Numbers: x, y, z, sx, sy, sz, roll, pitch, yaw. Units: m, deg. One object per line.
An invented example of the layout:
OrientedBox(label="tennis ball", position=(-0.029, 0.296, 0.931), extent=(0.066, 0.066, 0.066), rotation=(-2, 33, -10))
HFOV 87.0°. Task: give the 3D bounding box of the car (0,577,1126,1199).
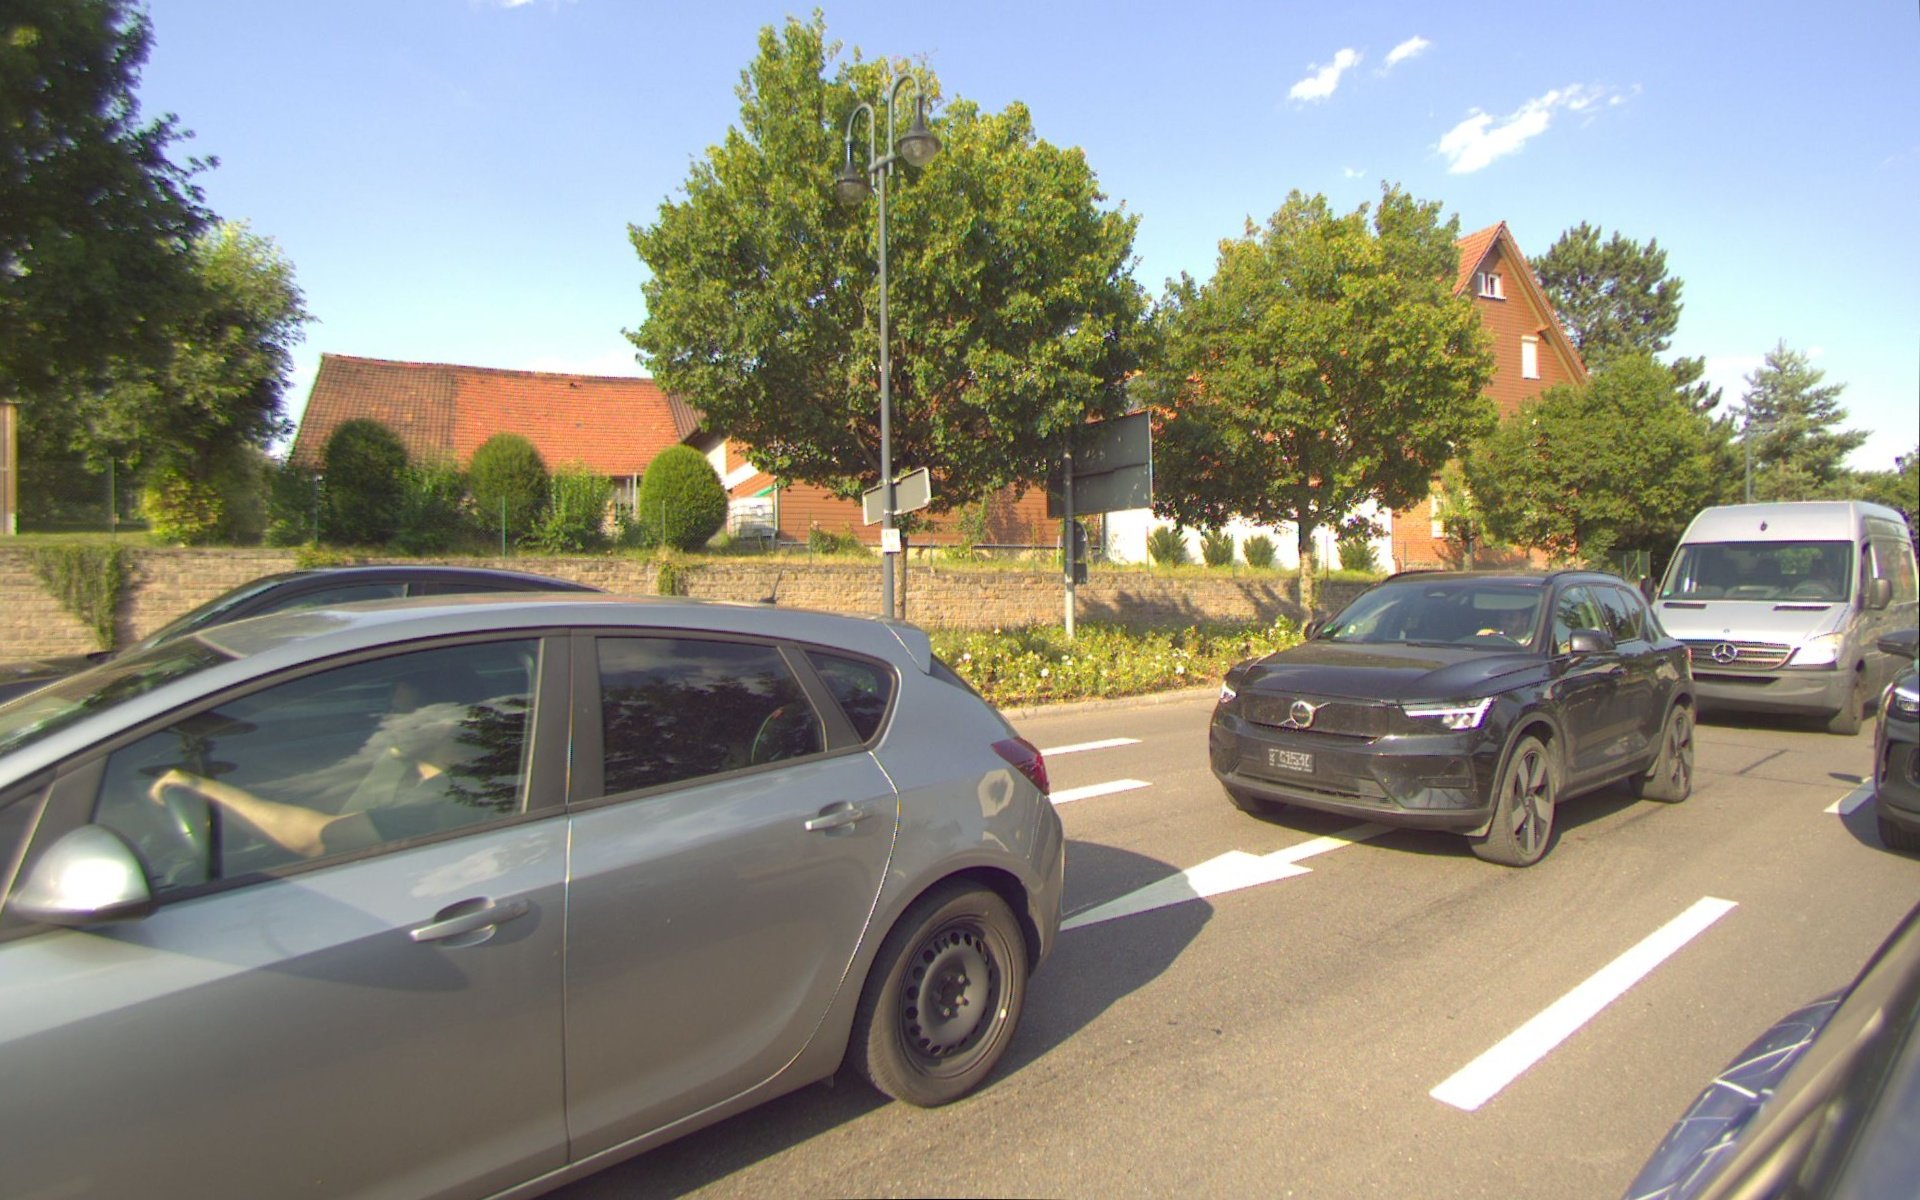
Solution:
OrientedBox(label="car", position=(-1.520, 0.675, 2.587), extent=(4.072, 1.440, 1.650), rotation=(-1, 2, -42))

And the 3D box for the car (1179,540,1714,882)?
OrientedBox(label="car", position=(3.428, 0.503, 6.792), extent=(3.985, 1.625, 1.791), rotation=(-1, 1, -40))

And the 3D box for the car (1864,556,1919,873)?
OrientedBox(label="car", position=(6.821, 0.561, 5.908), extent=(3.985, 1.611, 1.767), rotation=(-1, 0, -40))

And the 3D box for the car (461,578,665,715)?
OrientedBox(label="car", position=(-5.162, 0.473, 12.839), extent=(1.714, 1.449, 4.002), rotation=(0, 0, -32))

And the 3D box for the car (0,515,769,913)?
OrientedBox(label="car", position=(-3.461, 0.447, 5.577), extent=(4.416, 1.586, 1.843), rotation=(-1, 0, -40))

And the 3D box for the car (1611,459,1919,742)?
OrientedBox(label="car", position=(10.355, -0.023, 12.532), extent=(6.532, 2.692, 2.038), rotation=(-1, 0, -40))
